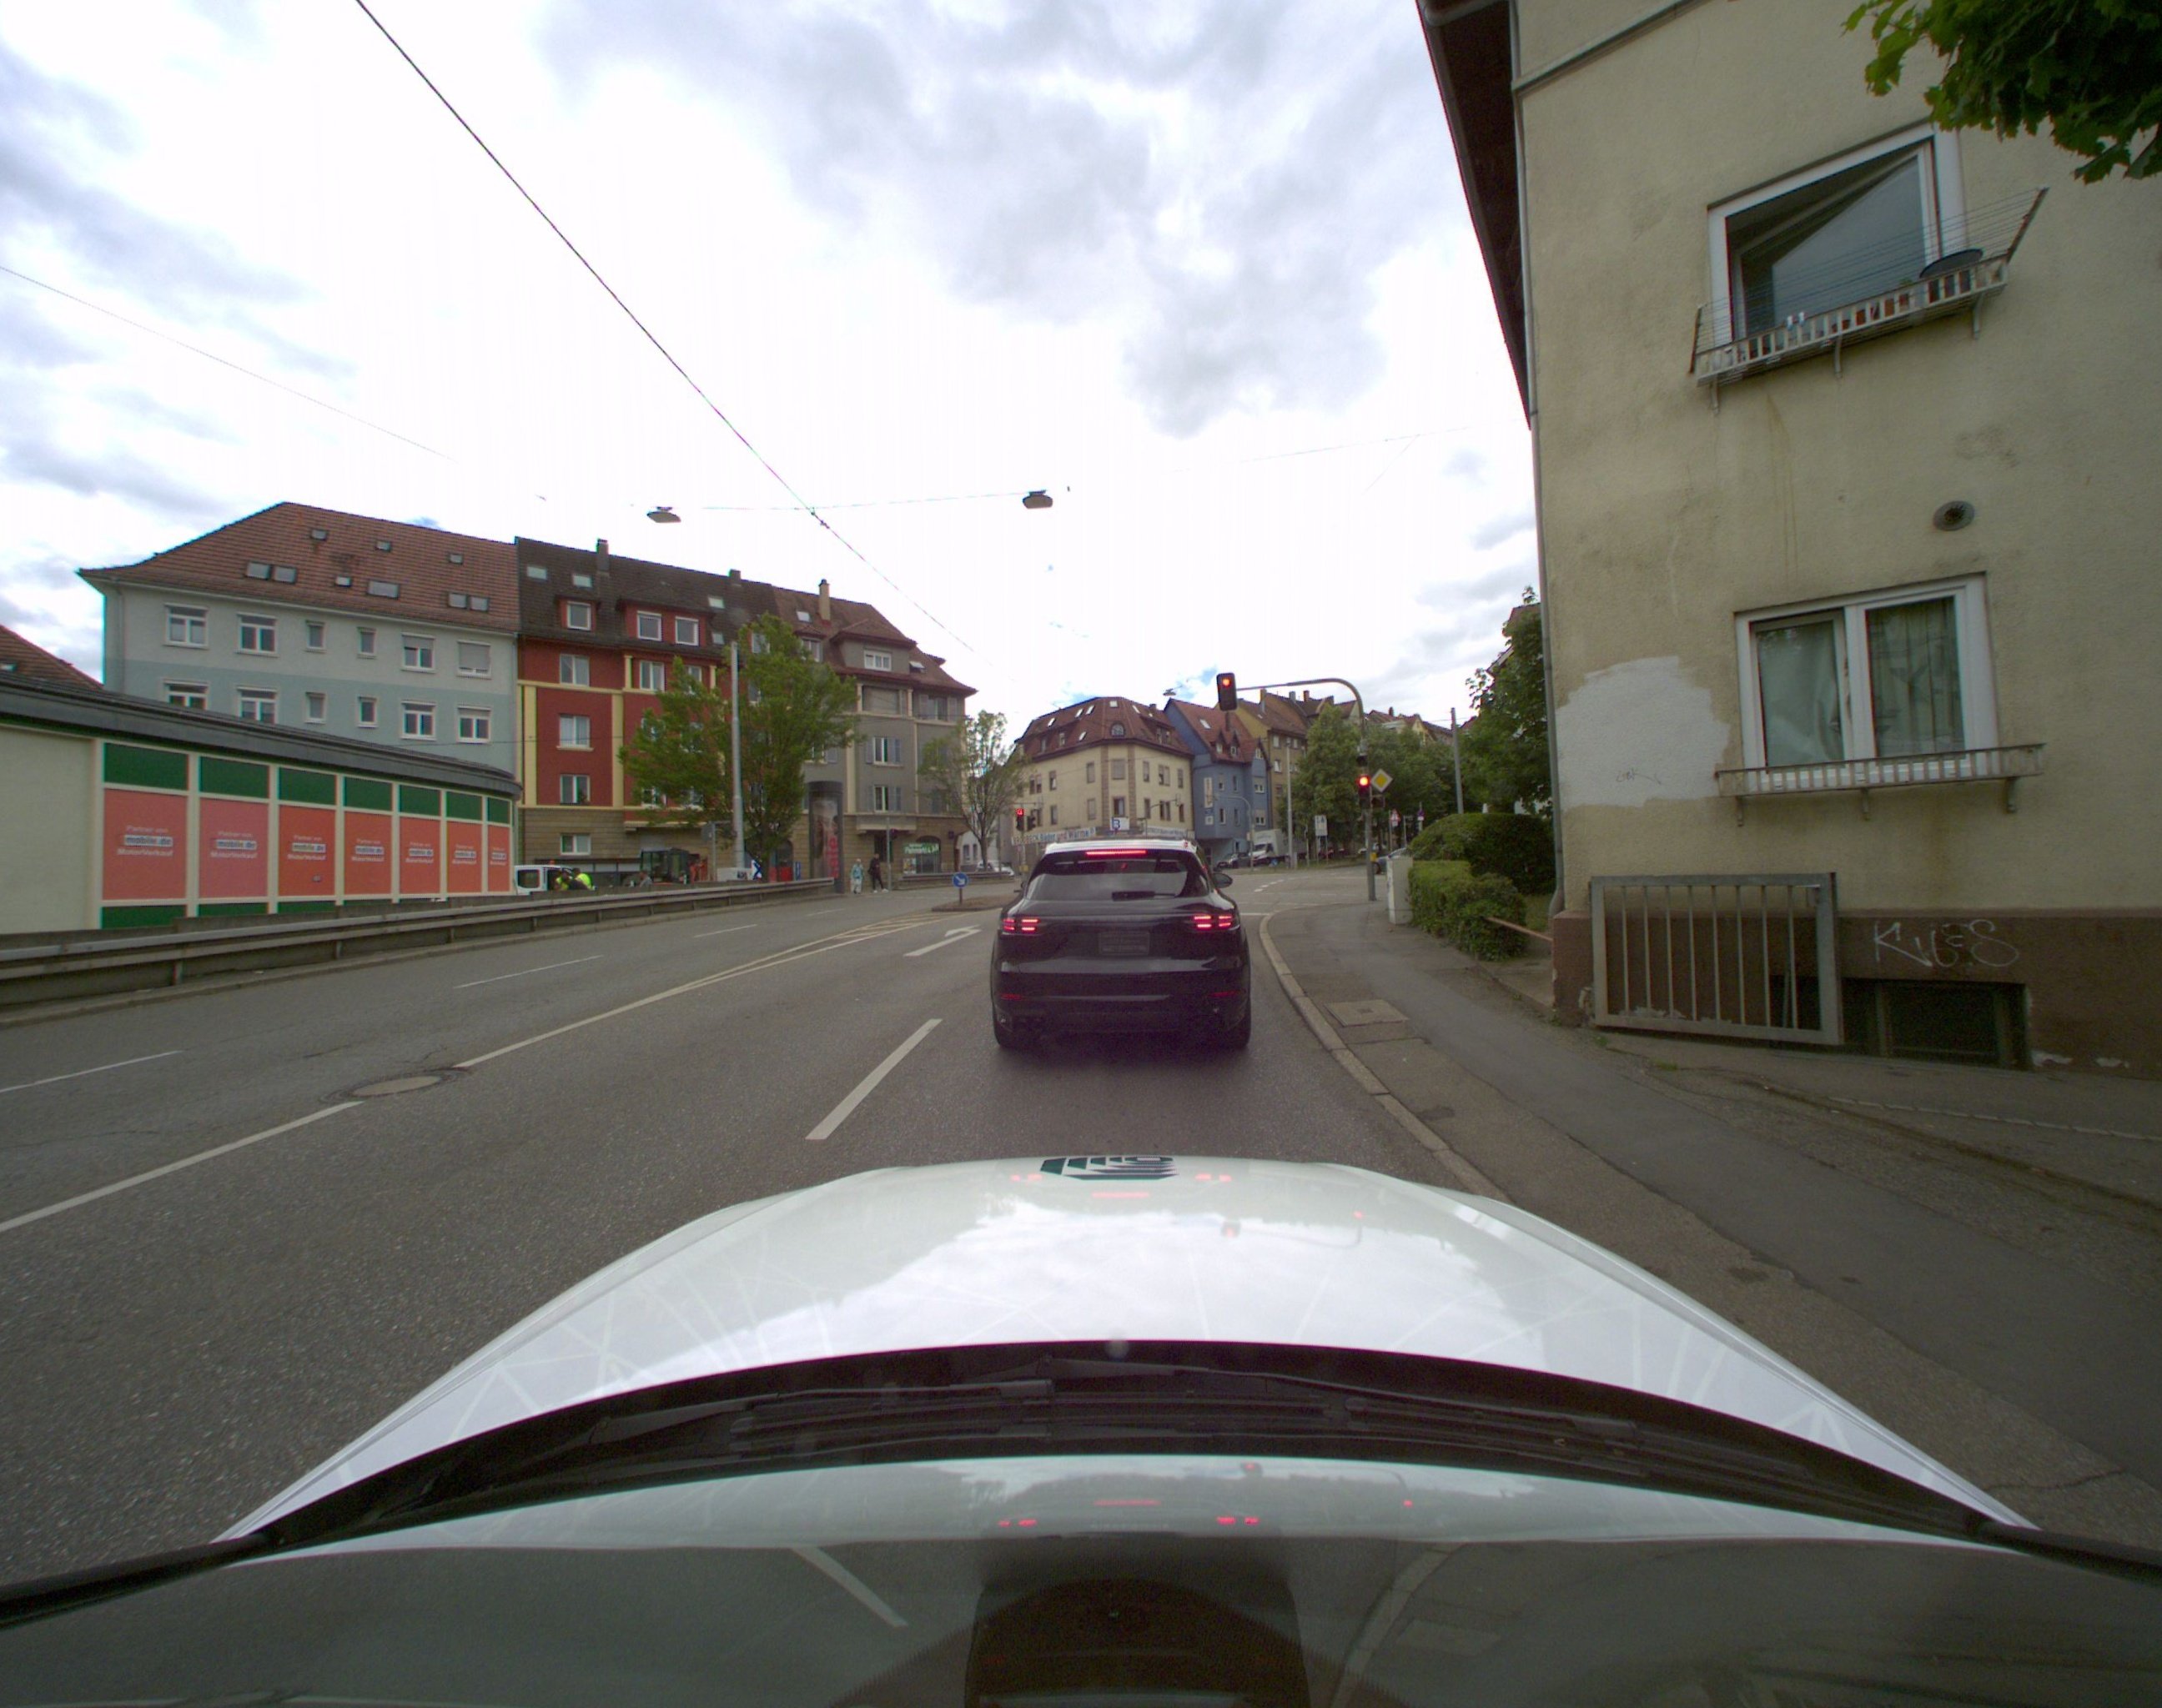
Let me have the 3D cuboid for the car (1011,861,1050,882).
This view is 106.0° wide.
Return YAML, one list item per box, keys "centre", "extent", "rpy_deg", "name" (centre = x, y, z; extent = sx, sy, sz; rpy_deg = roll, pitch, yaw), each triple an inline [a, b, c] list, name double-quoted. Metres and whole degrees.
- centre: [-3.931, 1.341, 63.855]
  extent: [1.875, 1.579, 3.985]
  rpy_deg: [-2, -1, 15]
  name: "car"

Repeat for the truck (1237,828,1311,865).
- centre: [18.602, -0.688, 78.152]
  extent: [2.846, 3.340, 8.846]
  rpy_deg: [0, 0, 43]
  name: "truck"

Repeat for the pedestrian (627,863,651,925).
- centre: [-12.593, 1.125, 23.215]
  extent: [0.545, 1.730, 0.587]
  rpy_deg: [1, -1, -33]
  name: "pedestrian"

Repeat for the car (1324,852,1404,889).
- centre: [16.208, 0.942, 46.772]
  extent: [2.007, 2.014, 3.959]
  rpy_deg: [1, -1, -33]
  name: "car"

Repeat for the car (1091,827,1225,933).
- centre: [1.580, 0.435, 15.160]
  extent: [1.980, 1.684, 4.014]
  rpy_deg: [-1, 0, 12]
  name: "car"

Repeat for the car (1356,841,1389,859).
- centre: [33.141, -0.435, 92.617]
  extent: [1.975, 2.014, 4.023]
  rpy_deg: [0, -1, 45]
  name: "car"

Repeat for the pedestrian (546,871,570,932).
- centre: [-15.228, 1.371, 23.718]
  extent: [0.479, 1.730, 0.536]
  rpy_deg: [1, -1, -44]
  name: "pedestrian"

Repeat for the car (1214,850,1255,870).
- centre: [13.527, 0.500, 71.728]
  extent: [1.974, 1.684, 4.026]
  rpy_deg: [-2, -1, 36]
  name: "car"

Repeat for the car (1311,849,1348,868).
- centre: [26.173, 0.487, 85.695]
  extent: [1.975, 2.014, 4.023]
  rpy_deg: [0, -1, 45]
  name: "car"

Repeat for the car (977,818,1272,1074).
- centre: [0.272, 0.600, 7.518]
  extent: [1.973, 1.684, 3.998]
  rpy_deg: [-1, 0, -1]
  name: "car"

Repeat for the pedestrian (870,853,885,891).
- centre: [-9.422, 0.842, 37.719]
  extent: [0.511, 1.730, 0.451]
  rpy_deg: [1, -1, 4]
  name: "pedestrian"

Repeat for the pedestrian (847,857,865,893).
- centre: [-9.959, 0.924, 36.050]
  extent: [0.587, 1.567, 0.486]
  rpy_deg: [1, -1, 1]
  name: "pedestrian"

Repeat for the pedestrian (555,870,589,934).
- centre: [-14.411, 1.348, 23.078]
  extent: [0.565, 1.761, 0.622]
  rpy_deg: [0, -1, 37]
  name: "pedestrian"

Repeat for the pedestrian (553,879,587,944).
- centre: [-13.708, 1.522, 21.850]
  extent: [0.562, 1.700, 0.541]
  rpy_deg: [1, -1, -10]
  name: "pedestrian"

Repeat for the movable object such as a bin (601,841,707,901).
- centre: [-13.490, 0.525, 26.016]
  extent: [1.903, 1.771, 3.984]
  rpy_deg: [1, 0, -11]
  name: "movable object such as a bin"
